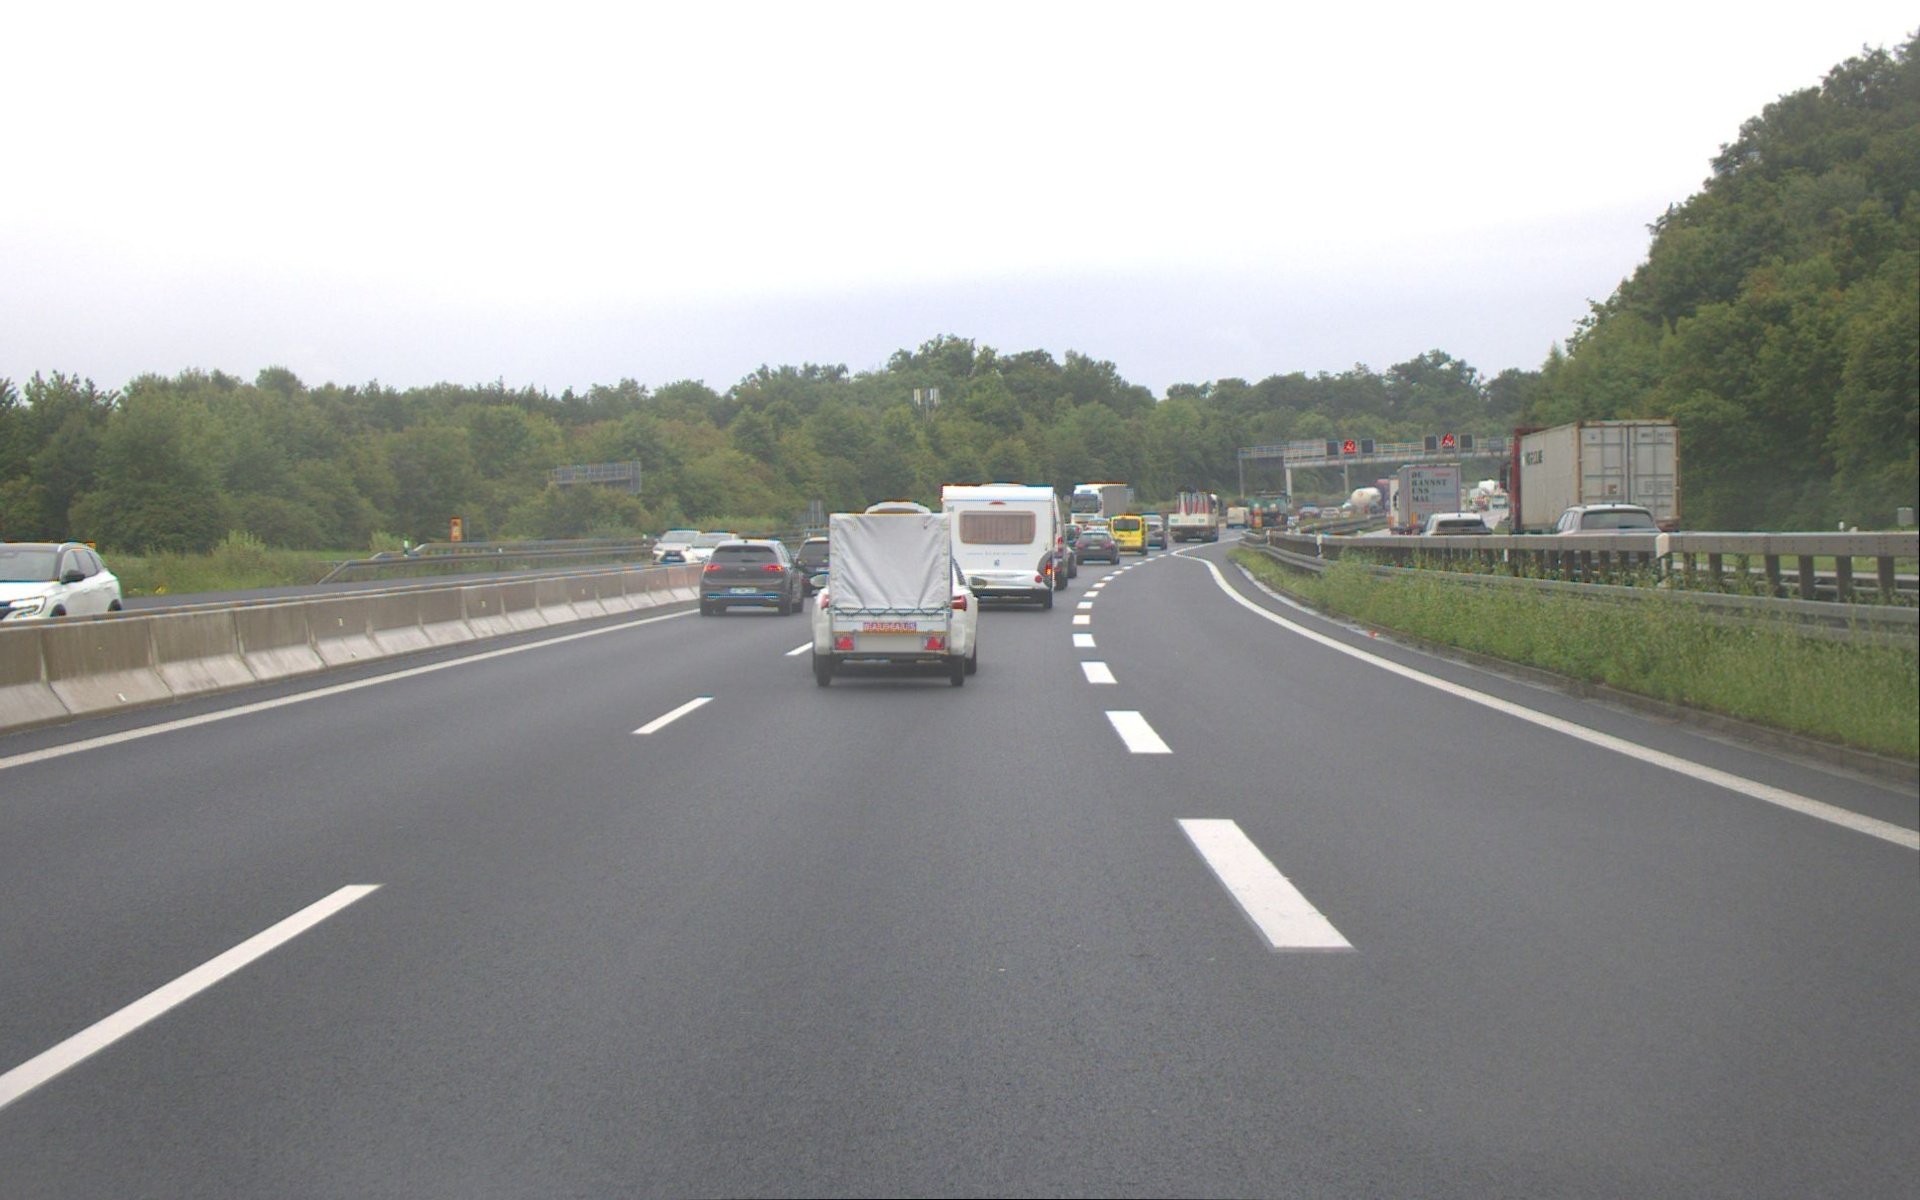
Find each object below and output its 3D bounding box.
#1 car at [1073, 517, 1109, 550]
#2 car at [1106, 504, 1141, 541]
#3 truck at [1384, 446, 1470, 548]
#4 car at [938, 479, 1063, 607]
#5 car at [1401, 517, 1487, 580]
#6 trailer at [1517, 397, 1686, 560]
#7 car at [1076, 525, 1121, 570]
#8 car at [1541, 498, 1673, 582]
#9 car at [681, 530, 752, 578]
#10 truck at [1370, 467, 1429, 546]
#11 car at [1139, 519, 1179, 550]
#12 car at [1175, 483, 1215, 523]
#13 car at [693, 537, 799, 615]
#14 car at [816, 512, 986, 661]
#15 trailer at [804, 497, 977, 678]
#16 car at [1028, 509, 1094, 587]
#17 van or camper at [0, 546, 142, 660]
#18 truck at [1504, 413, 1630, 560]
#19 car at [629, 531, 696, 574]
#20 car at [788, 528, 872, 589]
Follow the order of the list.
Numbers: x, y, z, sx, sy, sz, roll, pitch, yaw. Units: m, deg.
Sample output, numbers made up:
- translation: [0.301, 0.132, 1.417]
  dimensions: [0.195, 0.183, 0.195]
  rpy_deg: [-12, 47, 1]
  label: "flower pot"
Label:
- translation: [8.225, -4.170, 215.964]
  dimensions: [1.994, 2.007, 3.999]
  rpy_deg: [-1, 1, 6]
  label: "car"
- translation: [8.215, -3.869, 172.811]
  dimensions: [1.676, 1.806, 4.000]
  rpy_deg: [-1, 1, 4]
  label: "car"
- translation: [22.308, -4.855, 164.968]
  dimensions: [3.216, 4.650, 13.031]
  rpy_deg: [-1, 1, 4]
  label: "truck"
- translation: [0.901, -1.188, 72.397]
  dimensions: [2.507, 2.576, 5.699]
  rpy_deg: [-1, 1, 2]
  label: "car"
- translation: [12.744, -1.352, 90.679]
  dimensions: [1.770, 1.604, 4.643]
  rpy_deg: [-1, 1, 2]
  label: "car"
- translation: [16.349, -2.986, 88.442]
  dimensions: [2.604, 3.881, 12.489]
  rpy_deg: [-1, 1, 3]
  label: "trailer"
- translation: [5.715, -2.159, 142.354]
  dimensions: [1.676, 1.806, 4.000]
  rpy_deg: [-1, 1, 0]
  label: "car"
- translation: [11.572, -1.076, 61.693]
  dimensions: [1.667, 1.378, 4.126]
  rpy_deg: [-3, 1, 2]
  label: "car"
- translation: [-8.859, -1.681, 125.606]
  dimensions: [1.994, 1.705, 4.303]
  rpy_deg: [-1, 1, 4]
  label: "car"
- translation: [27.049, -5.690, 211.190]
  dimensions: [3.217, 4.650, 13.028]
  rpy_deg: [-1, 1, 9]
  label: "truck"
- translation: [11.185, -3.682, 193.169]
  dimensions: [2.038, 1.677, 3.999]
  rpy_deg: [-1, 1, 6]
  label: "car"
- translation: [15.516, -6.382, 227.089]
  dimensions: [2.516, 2.566, 5.311]
  rpy_deg: [-1, 1, 5]
  label: "car"
- translation: [-4.123, -0.477, 66.816]
  dimensions: [1.676, 1.451, 4.000]
  rpy_deg: [-1, 1, 2]
  label: "car"
- translation: [-0.627, -0.178, 40.160]
  dimensions: [1.818, 1.610, 4.778]
  rpy_deg: [-1, 1, 1]
  label: "car"
- translation: [-0.691, -0.149, 36.714]
  dimensions: [1.676, 1.806, 4.000]
  rpy_deg: [-1, 1, 1]
  label: "trailer"
- translation: [2.717, -1.406, 93.521]
  dimensions: [1.676, 2.060, 4.000]
  rpy_deg: [-1, 1, 0]
  label: "car"
- translation: [-12.358, 0.017, 45.918]
  dimensions: [1.748, 1.442, 4.586]
  rpy_deg: [-1, 1, 0]
  label: "van or camper"
- translation: [16.664, -3.058, 94.658]
  dimensions: [2.616, 3.871, 6.391]
  rpy_deg: [-1, 1, 3]
  label: "truck"
- translation: [-11.828, -1.883, 136.949]
  dimensions: [1.892, 1.644, 4.602]
  rpy_deg: [-1, 1, 5]
  label: "car"
- translation: [-3.192, -1.037, 85.169]
  dimensions: [1.765, 1.451, 4.000]
  rpy_deg: [-1, 1, 2]
  label: "car"
